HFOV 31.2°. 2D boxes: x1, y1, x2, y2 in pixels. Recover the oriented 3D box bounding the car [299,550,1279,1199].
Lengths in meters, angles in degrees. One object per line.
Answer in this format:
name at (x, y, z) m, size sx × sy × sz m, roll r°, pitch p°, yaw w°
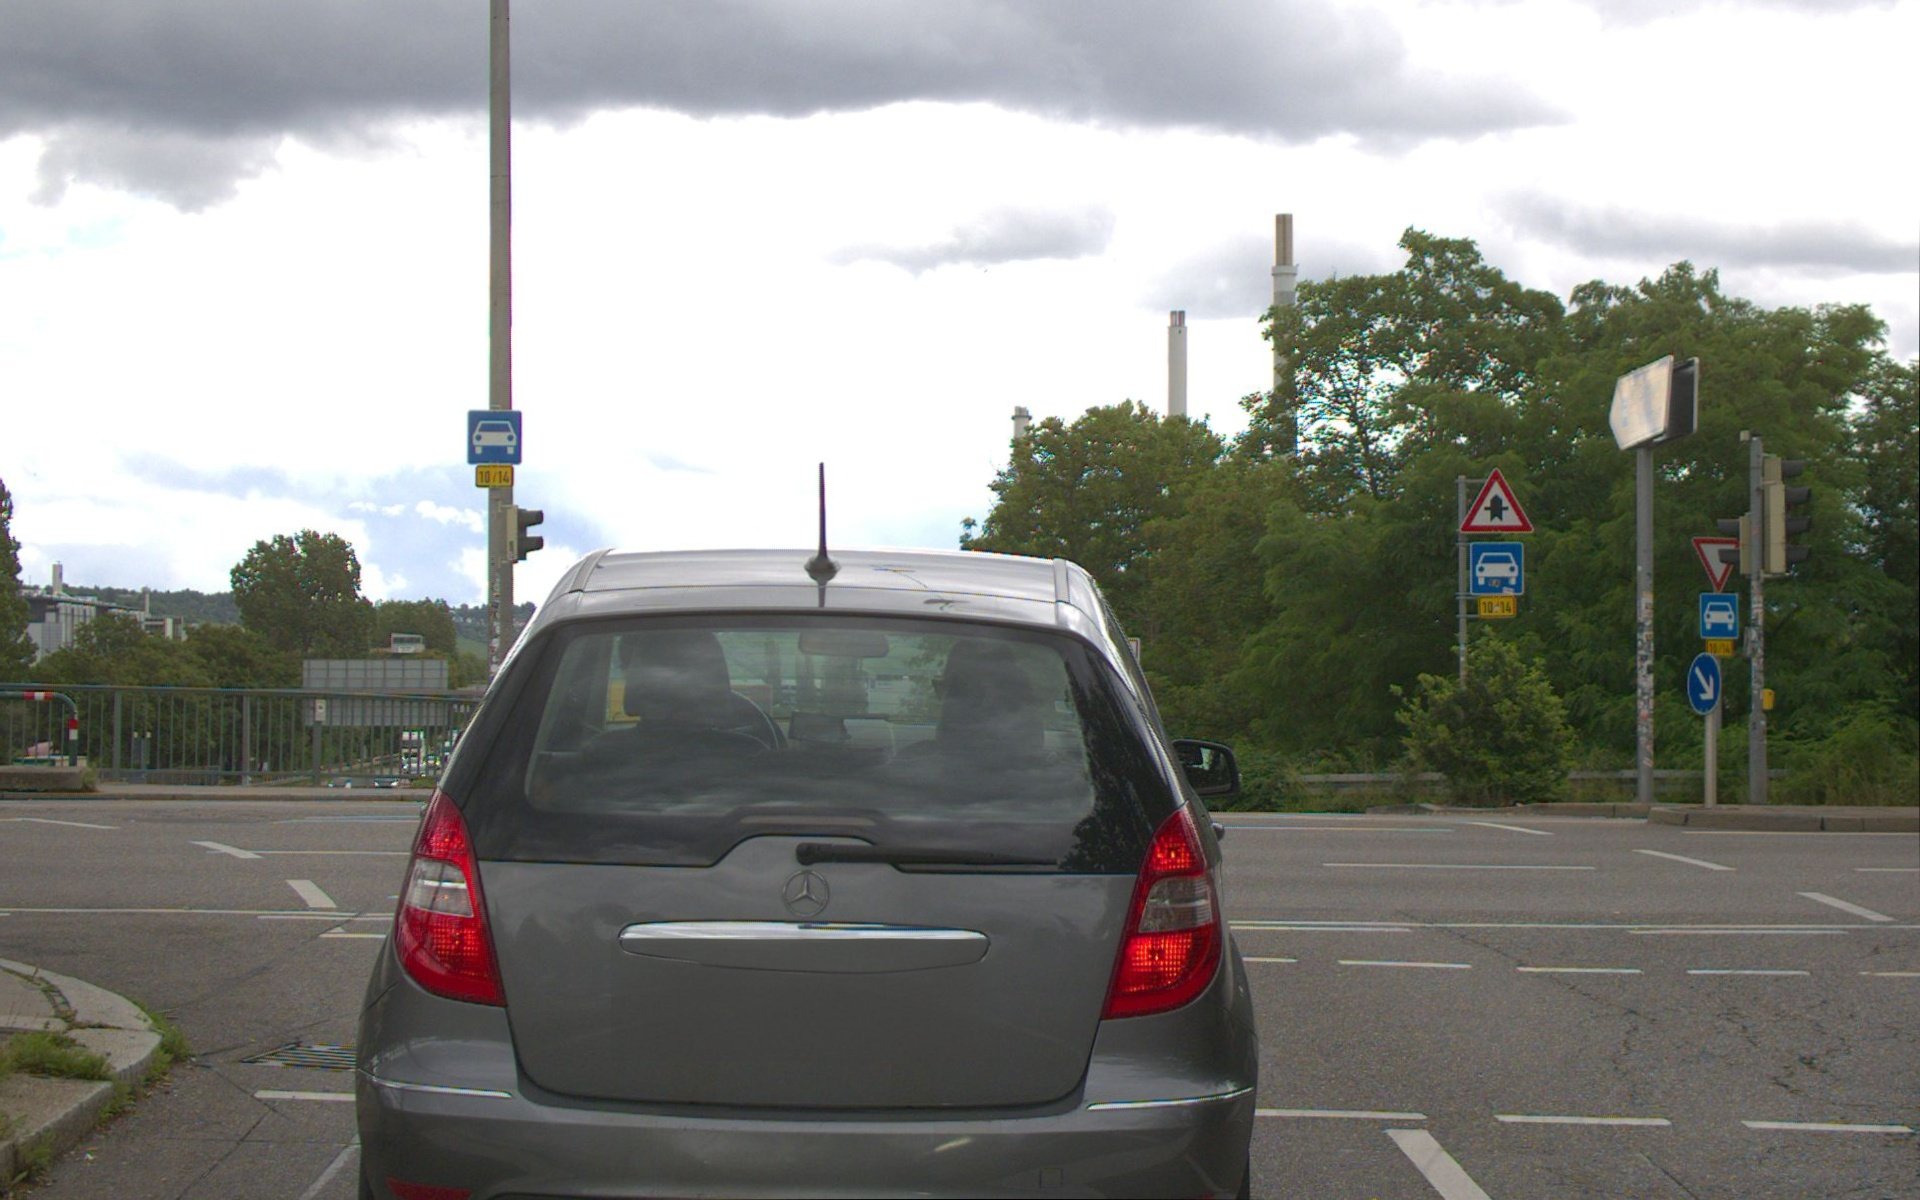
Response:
car at (-0.322, 0.674, 7.905) m, size 1.739 × 1.538 × 3.541 m, roll 0°, pitch 0°, yaw -1°
